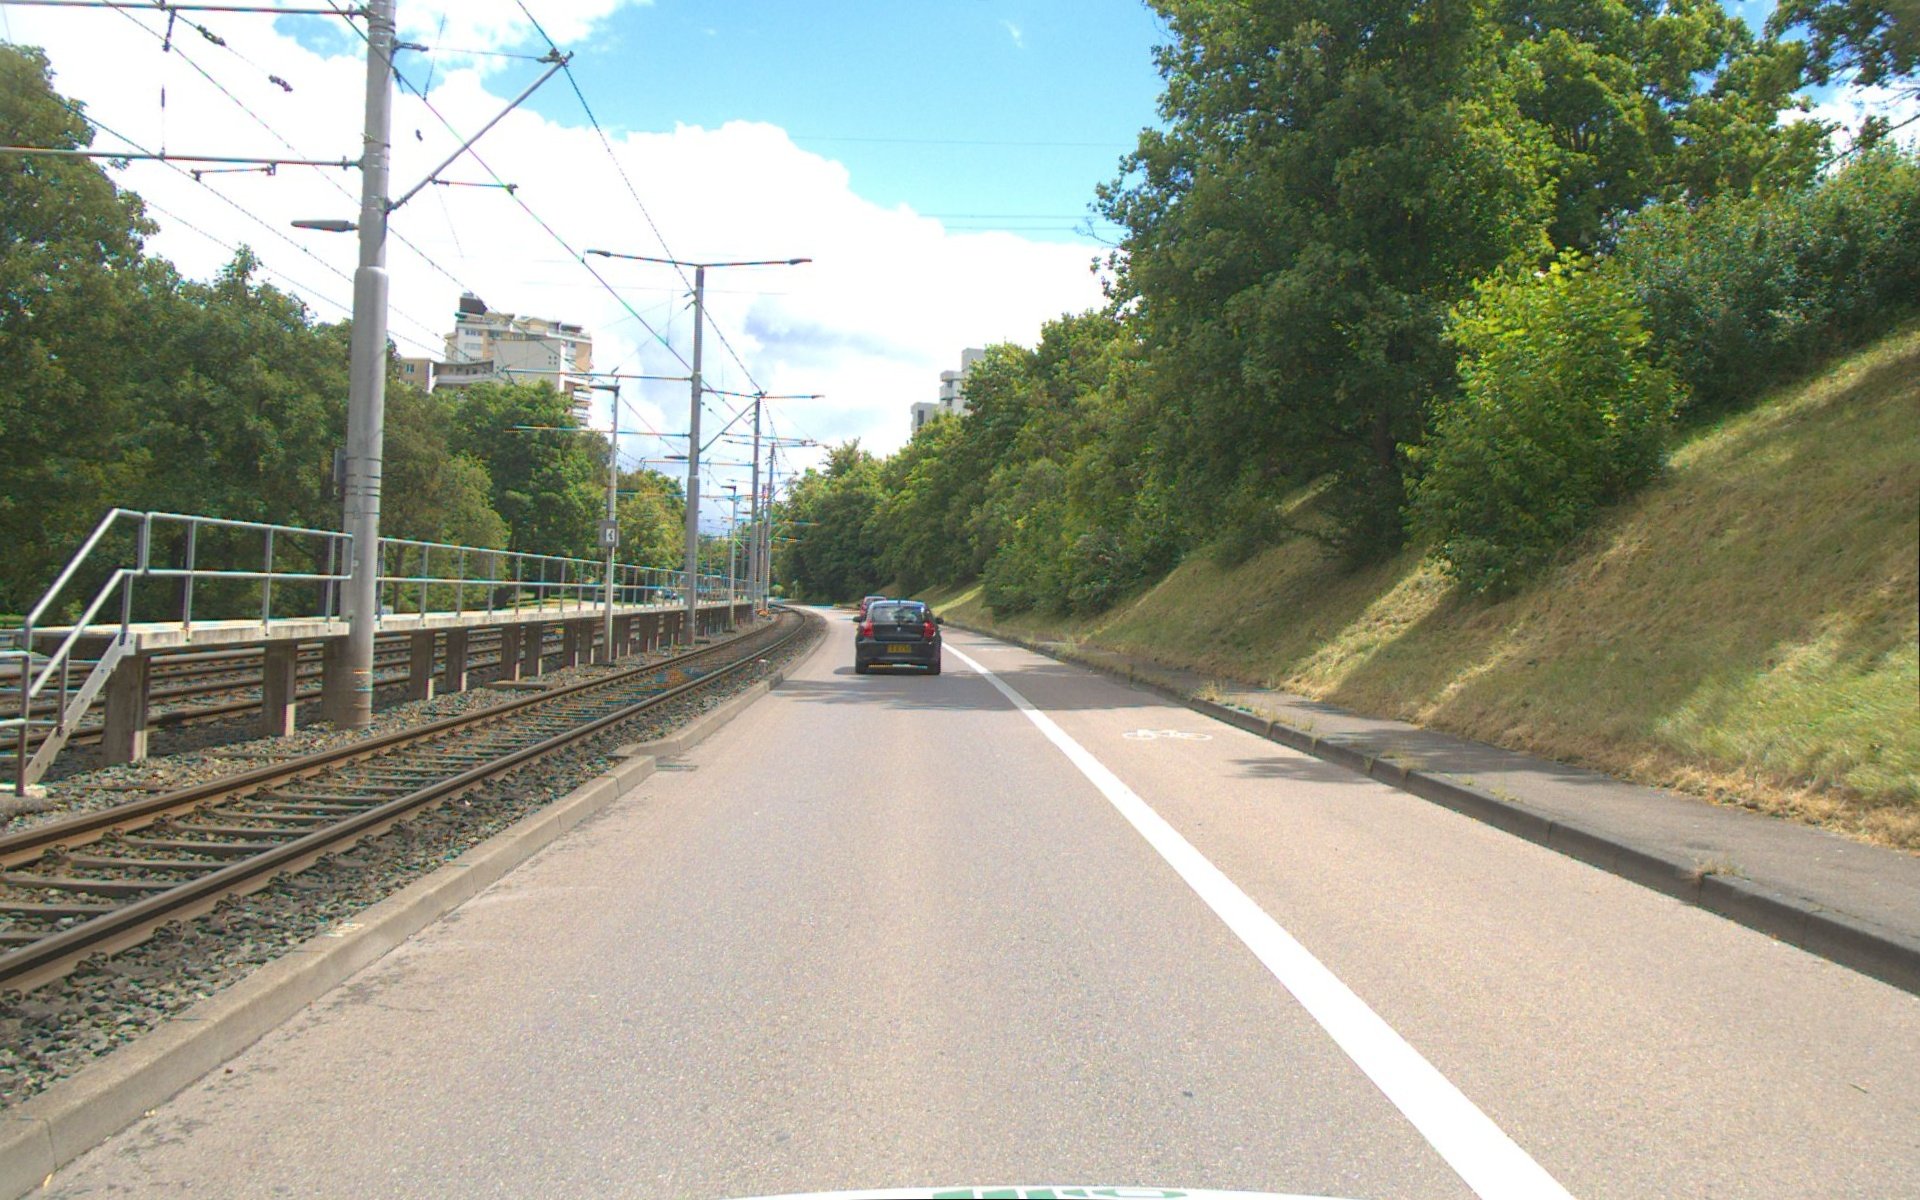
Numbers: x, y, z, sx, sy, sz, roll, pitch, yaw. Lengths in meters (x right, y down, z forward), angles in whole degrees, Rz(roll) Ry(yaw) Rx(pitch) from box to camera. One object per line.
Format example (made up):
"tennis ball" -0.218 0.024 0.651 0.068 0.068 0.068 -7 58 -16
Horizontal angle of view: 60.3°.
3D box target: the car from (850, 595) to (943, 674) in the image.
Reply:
"car" -1.330 0.661 33.463 1.746 1.485 3.917 0 0 -4

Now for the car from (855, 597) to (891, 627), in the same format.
"car" -4.652 0.630 87.905 1.747 1.485 3.916 1 0 -6
